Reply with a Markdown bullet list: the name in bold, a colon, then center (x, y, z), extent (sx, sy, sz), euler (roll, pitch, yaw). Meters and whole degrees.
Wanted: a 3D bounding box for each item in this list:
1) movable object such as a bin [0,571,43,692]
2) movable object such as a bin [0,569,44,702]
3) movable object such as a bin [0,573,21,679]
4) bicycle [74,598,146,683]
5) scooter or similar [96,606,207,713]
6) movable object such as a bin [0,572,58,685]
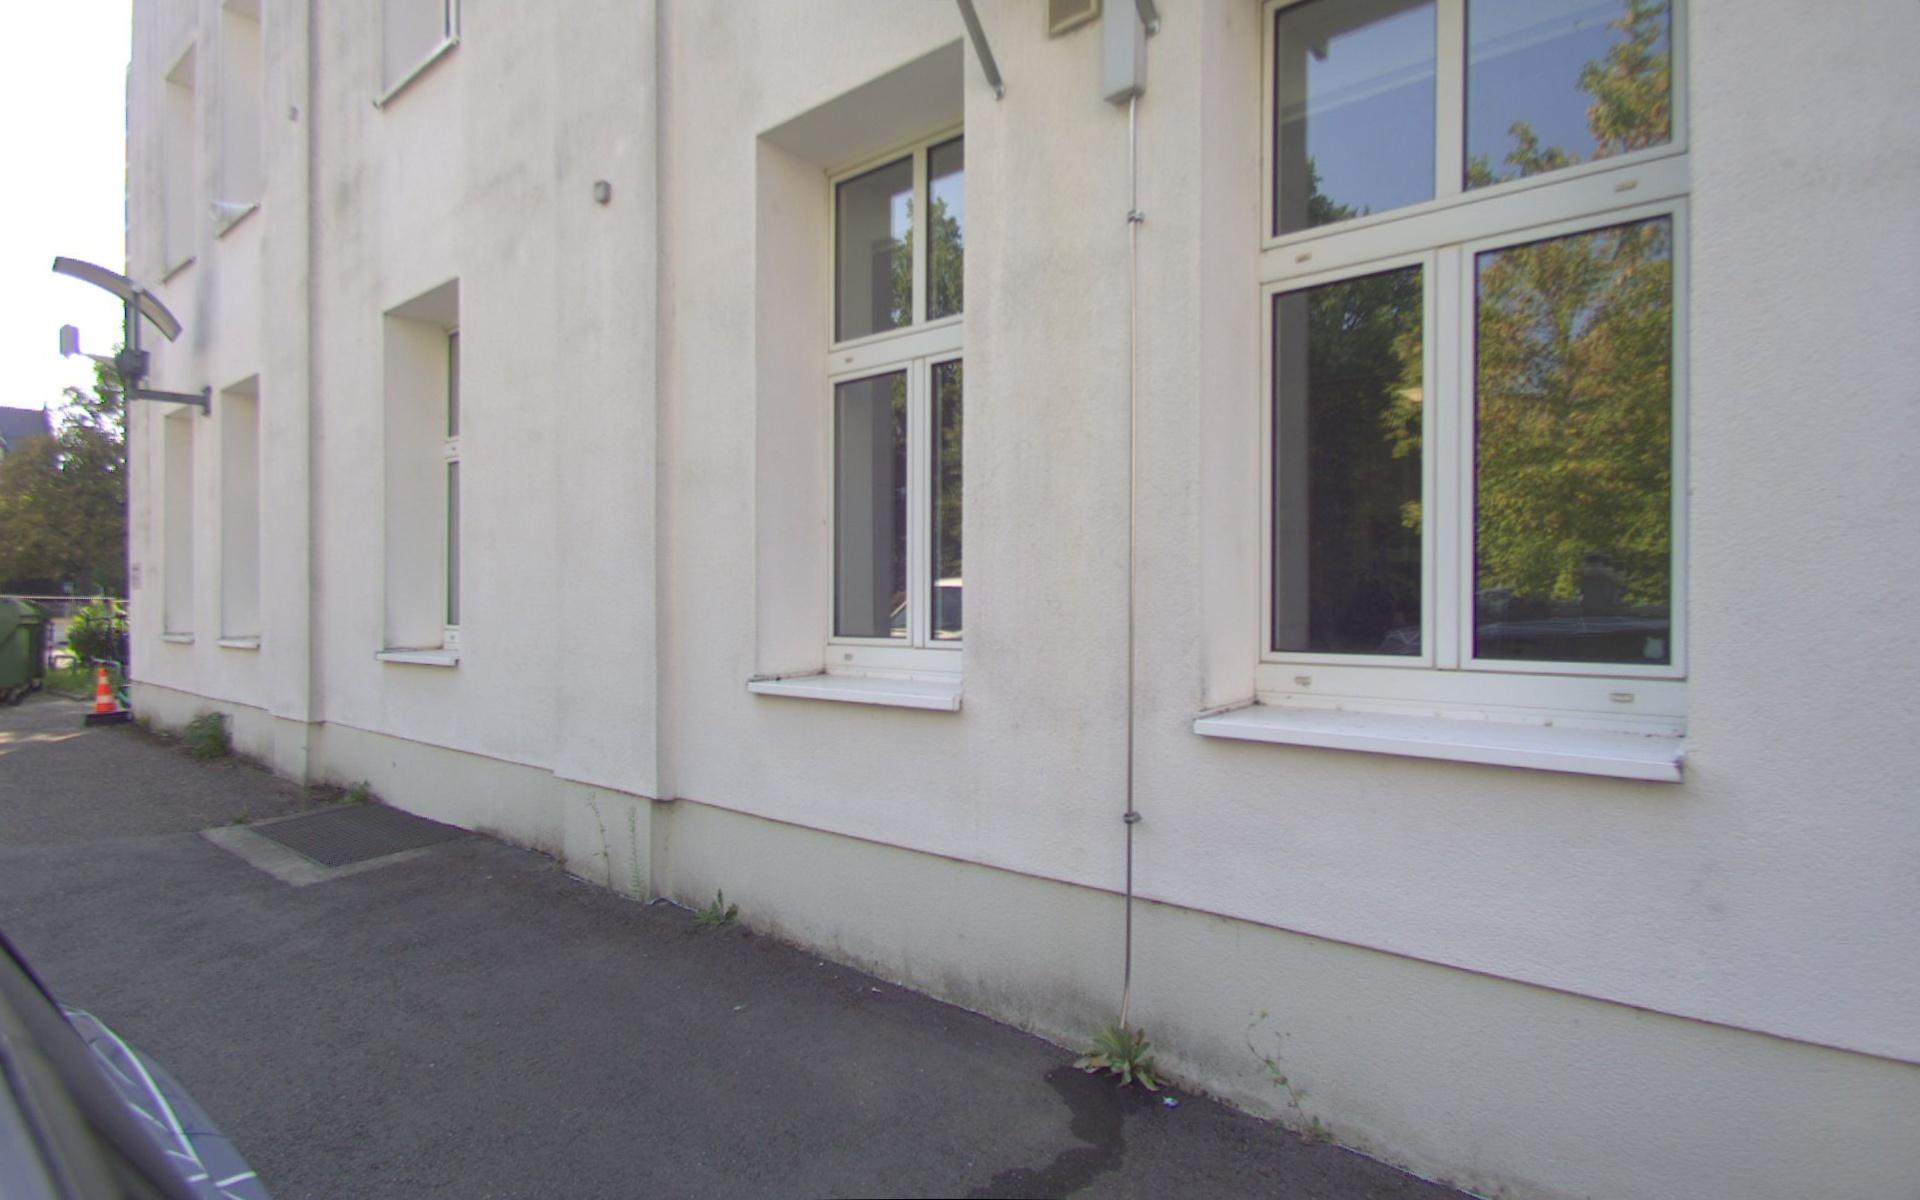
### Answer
- **movable object such as a bin**: center (-14.209, 0.438, 14.749), extent (1.395, 1.718, 1.167), euler (0, 1, 44)
- **movable object such as a bin**: center (-13.037, 0.451, 13.343), extent (1.374, 1.718, 1.170), euler (0, 0, 36)
- **movable object such as a bin**: center (-16.337, 0.422, 16.575), extent (1.374, 1.718, 1.170), euler (0, 0, 36)
- **bicycle**: center (-13.135, 0.593, 15.614), extent (2.006, 1.222, 0.471), euler (0, 1, 39)
- **scooter or similar**: center (-10.083, 0.721, 12.613), extent (1.484, 1.272, 0.383), euler (0, 0, 21)
- **movable object such as a bin**: center (-15.104, 0.428, 15.874), extent (1.374, 1.718, 1.170), euler (0, 0, 36)
